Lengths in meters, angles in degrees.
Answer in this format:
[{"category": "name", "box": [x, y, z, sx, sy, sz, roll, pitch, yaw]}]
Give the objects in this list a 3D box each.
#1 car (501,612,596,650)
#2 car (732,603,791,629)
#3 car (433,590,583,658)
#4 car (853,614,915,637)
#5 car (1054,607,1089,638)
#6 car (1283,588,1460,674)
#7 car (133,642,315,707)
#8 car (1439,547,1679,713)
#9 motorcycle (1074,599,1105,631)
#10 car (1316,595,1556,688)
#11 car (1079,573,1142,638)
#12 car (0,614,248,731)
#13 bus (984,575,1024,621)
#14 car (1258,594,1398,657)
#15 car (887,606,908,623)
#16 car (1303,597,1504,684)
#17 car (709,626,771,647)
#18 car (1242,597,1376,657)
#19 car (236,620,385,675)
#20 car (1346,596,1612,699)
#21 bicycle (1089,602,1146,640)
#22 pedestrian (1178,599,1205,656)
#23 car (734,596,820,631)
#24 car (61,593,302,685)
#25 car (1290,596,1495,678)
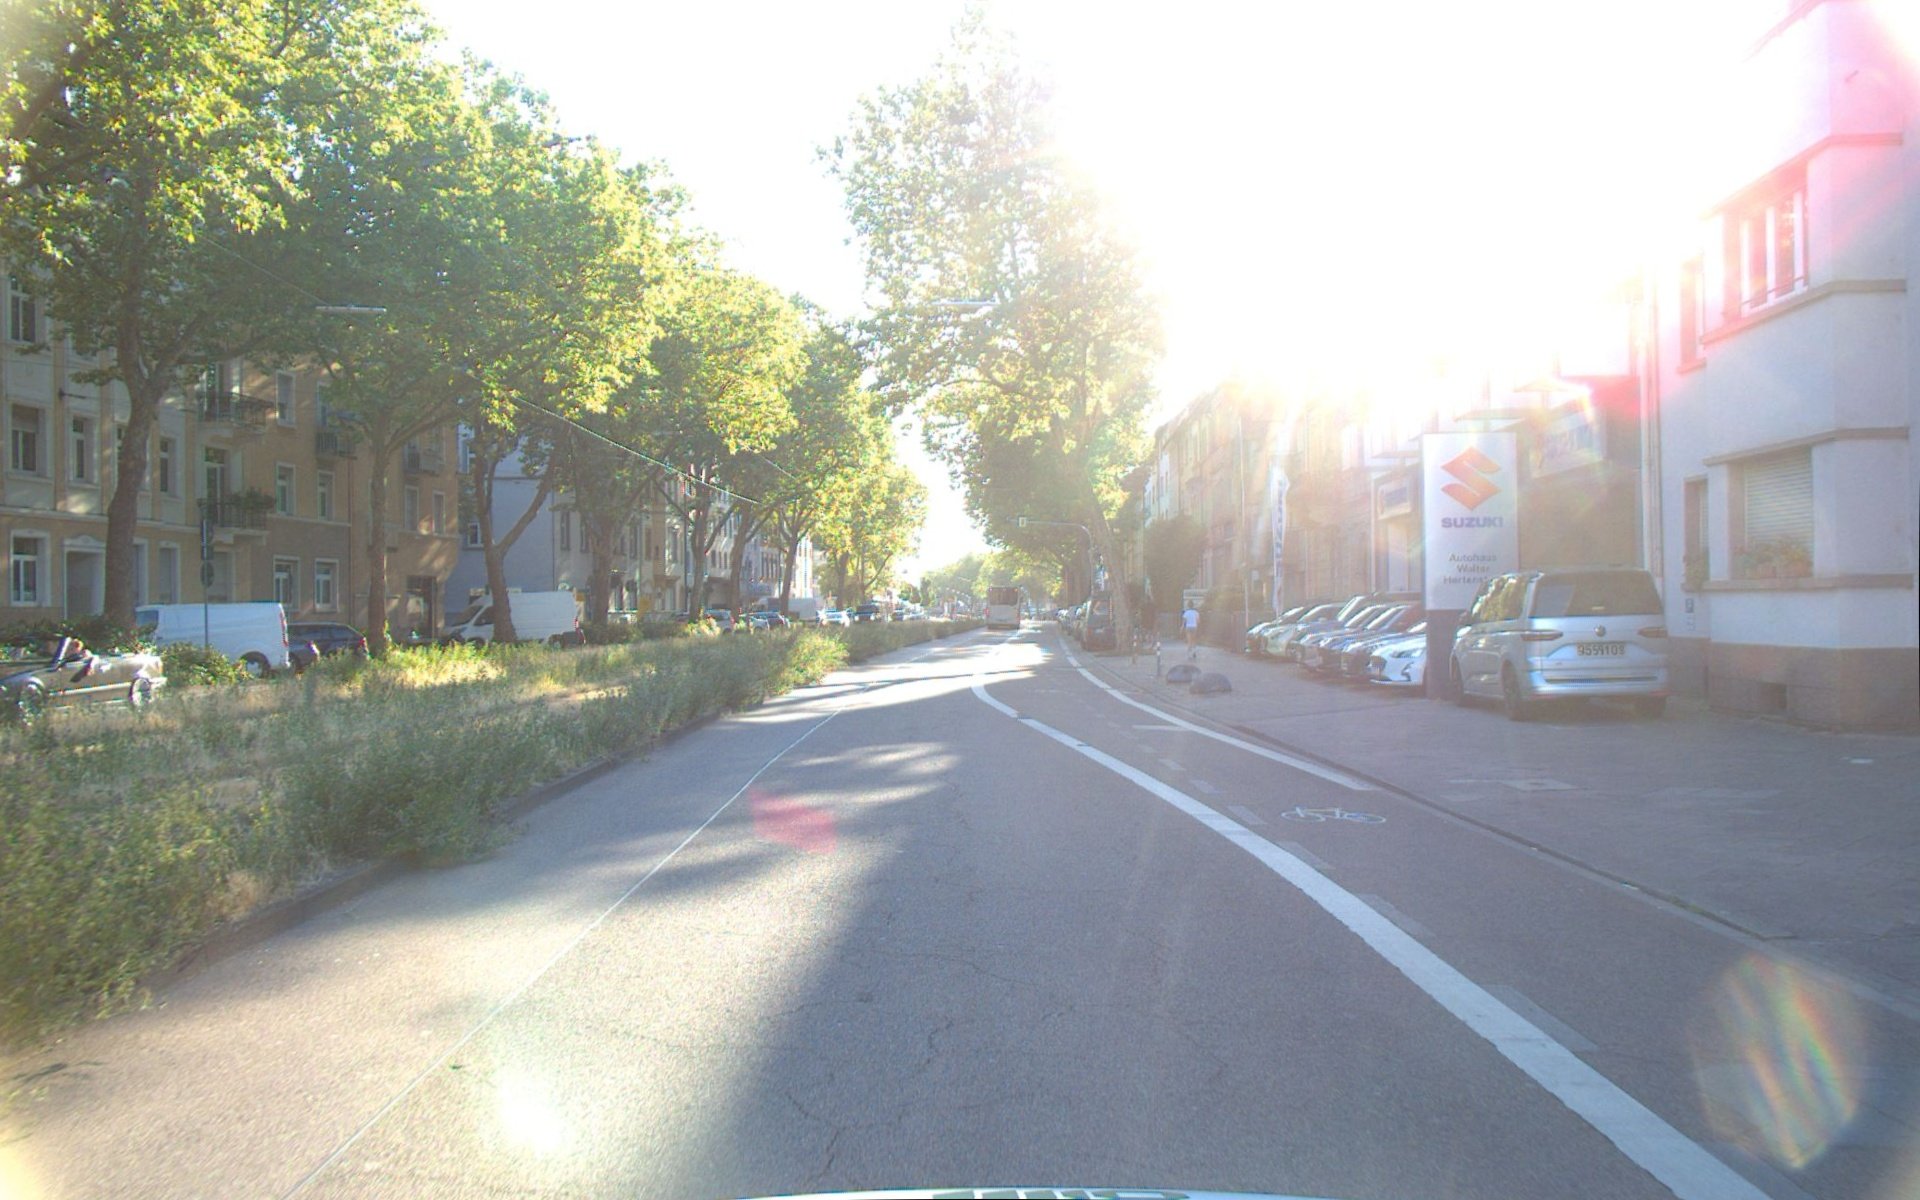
[{"category": "car", "box": [-17.933, 1.333, 72.080, 3.658, 1.492, 1.719, -2, 1, -30]}, {"category": "car", "box": [-14.771, 1.217, 123.027, 3.944, 1.728, 1.838, -3, 0, -29]}, {"category": "car", "box": [-18.077, 0.927, 66.334, 5.457, 2.573, 2.095, -1, 0, -40]}, {"category": "car", "box": [-5.951, 2.020, 130.061, 4.660, 1.723, 1.876, -1, -1, 6]}, {"category": "car", "box": [6.926, 1.399, 102.523, 1.707, 1.801, 4.398, -1, -1, 9]}, {"category": "car", "box": [8.919, 0.653, 36.055, 3.505, 1.750, 1.683, -1, 1, 4]}, {"category": "car", "box": [-19.535, 1.942, 44.002, 4.137, 1.517, 1.697, -1, 0, -40]}, {"category": "car", "box": [7.973, 0.399, 22.510, 1.852, 1.983, 4.903, -1, -1, 5]}, {"category": "motorcycle", "box": [5.911, 0.682, 75.847, 0.809, 1.422, 2.374, -3, 0, -10]}, {"category": "car", "box": [8.490, 0.725, 29.735, 3.789, 1.540, 1.809, -1, 0, 1]}, {"category": "car", "box": [5.587, 0.240, 61.941, 1.952, 2.297, 5.236, -1, -1, 2]}, {"category": "car", "box": [-12.803, 1.034, 25.150, 1.680, 1.512, 4.701, -3, 0, 2]}, {"category": "bus", "box": [3.282, -0.084, 124.232, 2.775, 3.292, 8.182, -1, -1, 0]}, {"category": "car", "box": [9.613, 0.665, 43.441, 3.346, 1.545, 1.758, -1, -1, 4]}, {"category": "car", "box": [-6.160, 1.422, 163.773, 1.752, 1.601, 4.001, -1, 0, 3]}, {"category": "car", "box": [8.462, 0.747, 31.738, 3.349, 1.552, 1.740, -1, 0, -2]}, {"category": "car", "box": [-15.100, 2.495, 113.711, 3.943, 1.380, 1.570, -1, -1, -29]}, {"category": "car", "box": [9.575, 0.749, 45.514, 3.348, 1.573, 1.442, -1, -1, 0]}, {"category": "car", "box": [-18.745, 1.346, 47.800, 3.693, 1.447, 1.697, -1, 0, -40]}, {"category": "car", "box": [8.454, 0.747, 27.157, 3.735, 1.527, 1.913, -1, 1, -3]}, {"category": "bicycle", "box": [5.062, 0.675, 53.270, 1.806, 1.163, 0.348, -1, -1, 2]}, {"category": "pedestrian", "box": [6.737, 0.800, 48.193, 0.649, 1.657, 0.923, -1, -1, 2]}, {"category": "car", "box": [-15.359, 1.131, 138.817, 6.830, 2.725, 2.174, -1, -1, -18]}, {"category": "car", "box": [-19.294, 0.925, 41.149, 5.197, 2.102, 1.697, -1, 0, -40]}, {"category": "car", "box": [8.834, 0.740, 34.015, 3.740, 1.567, 1.859, -1, 0, 1]}]
